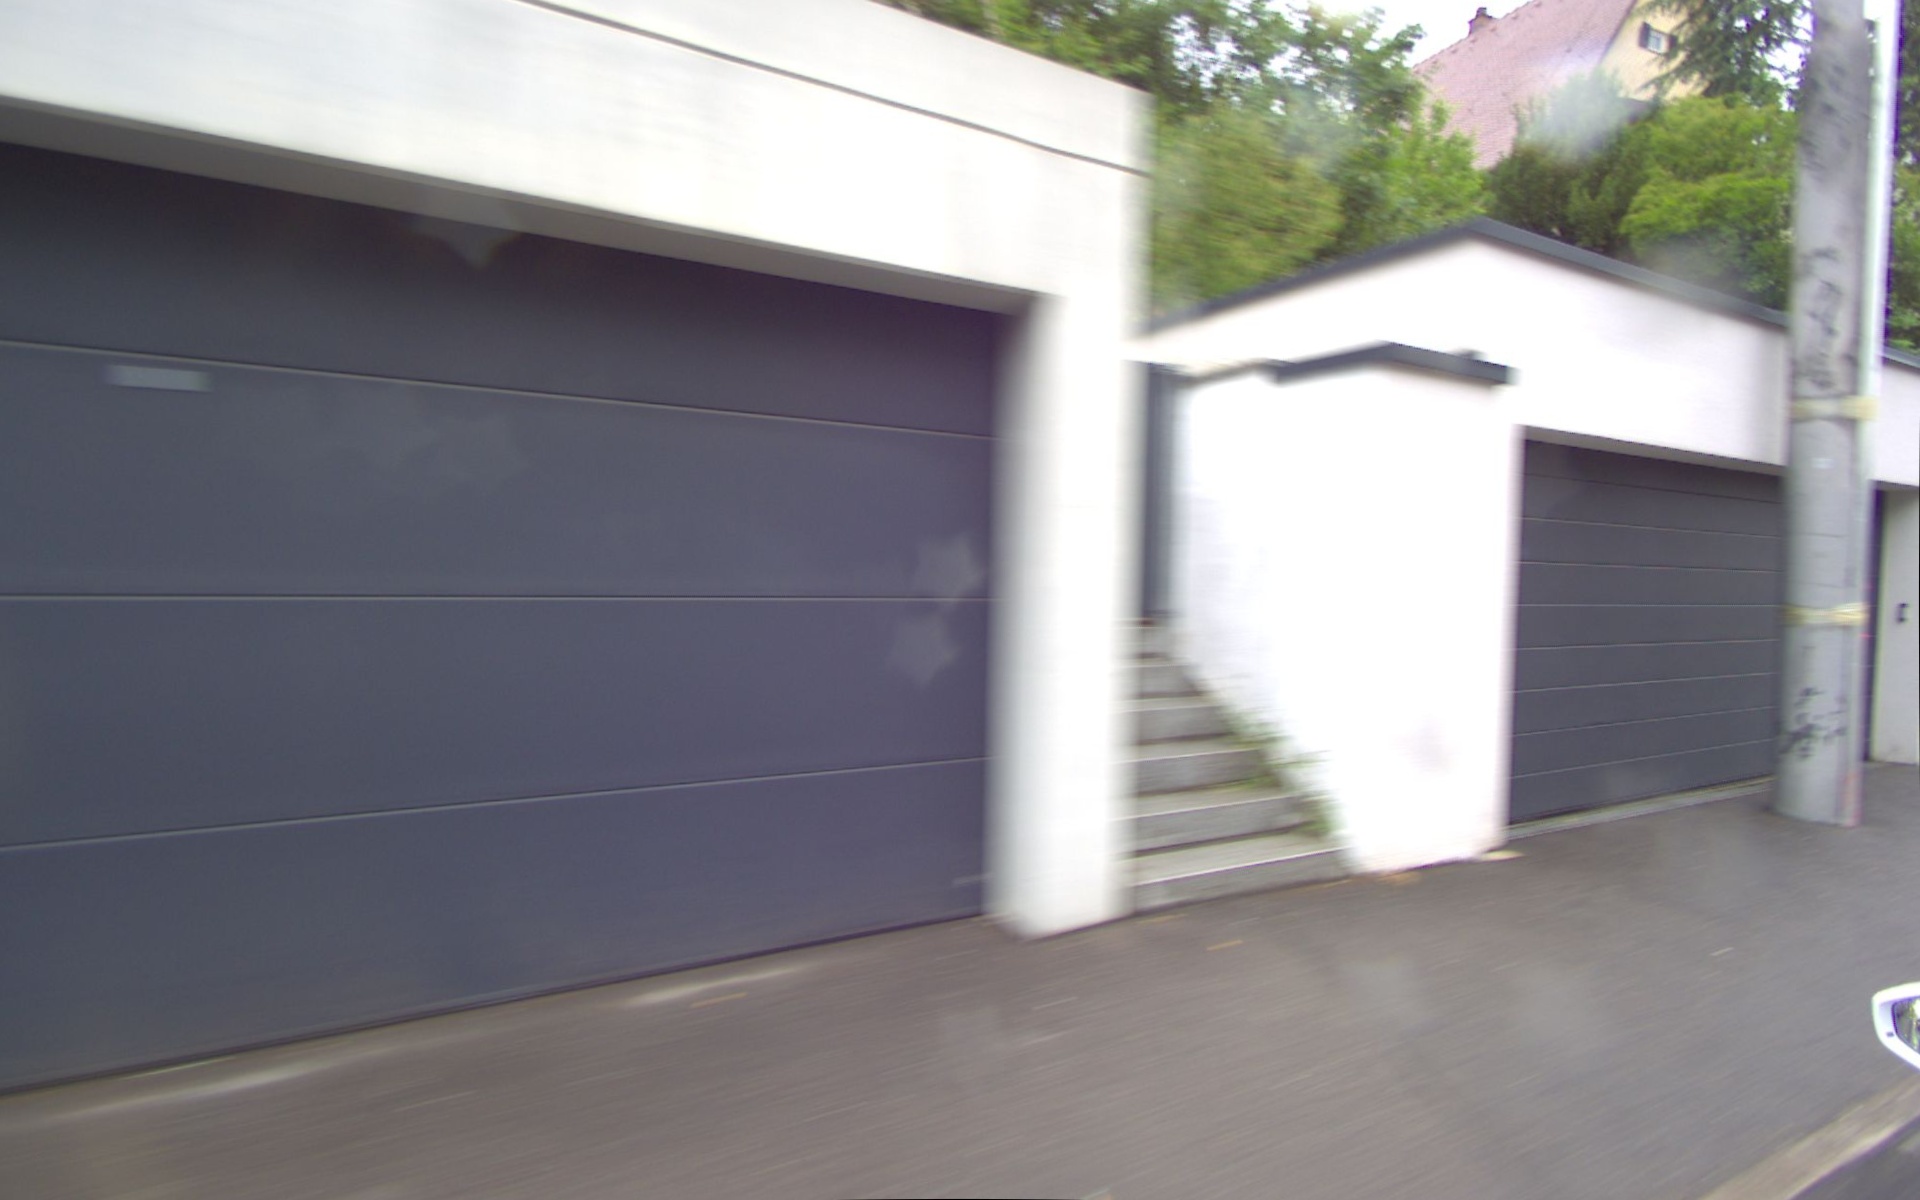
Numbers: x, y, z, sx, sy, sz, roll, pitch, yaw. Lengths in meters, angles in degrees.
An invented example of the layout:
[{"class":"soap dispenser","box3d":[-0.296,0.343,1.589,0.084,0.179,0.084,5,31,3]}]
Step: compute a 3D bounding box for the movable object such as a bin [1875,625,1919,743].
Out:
[{"class":"movable object such as a bin","box3d":[8.835,0.774,9.174,0.516,1.035,0.501,2,3,-30]}]
